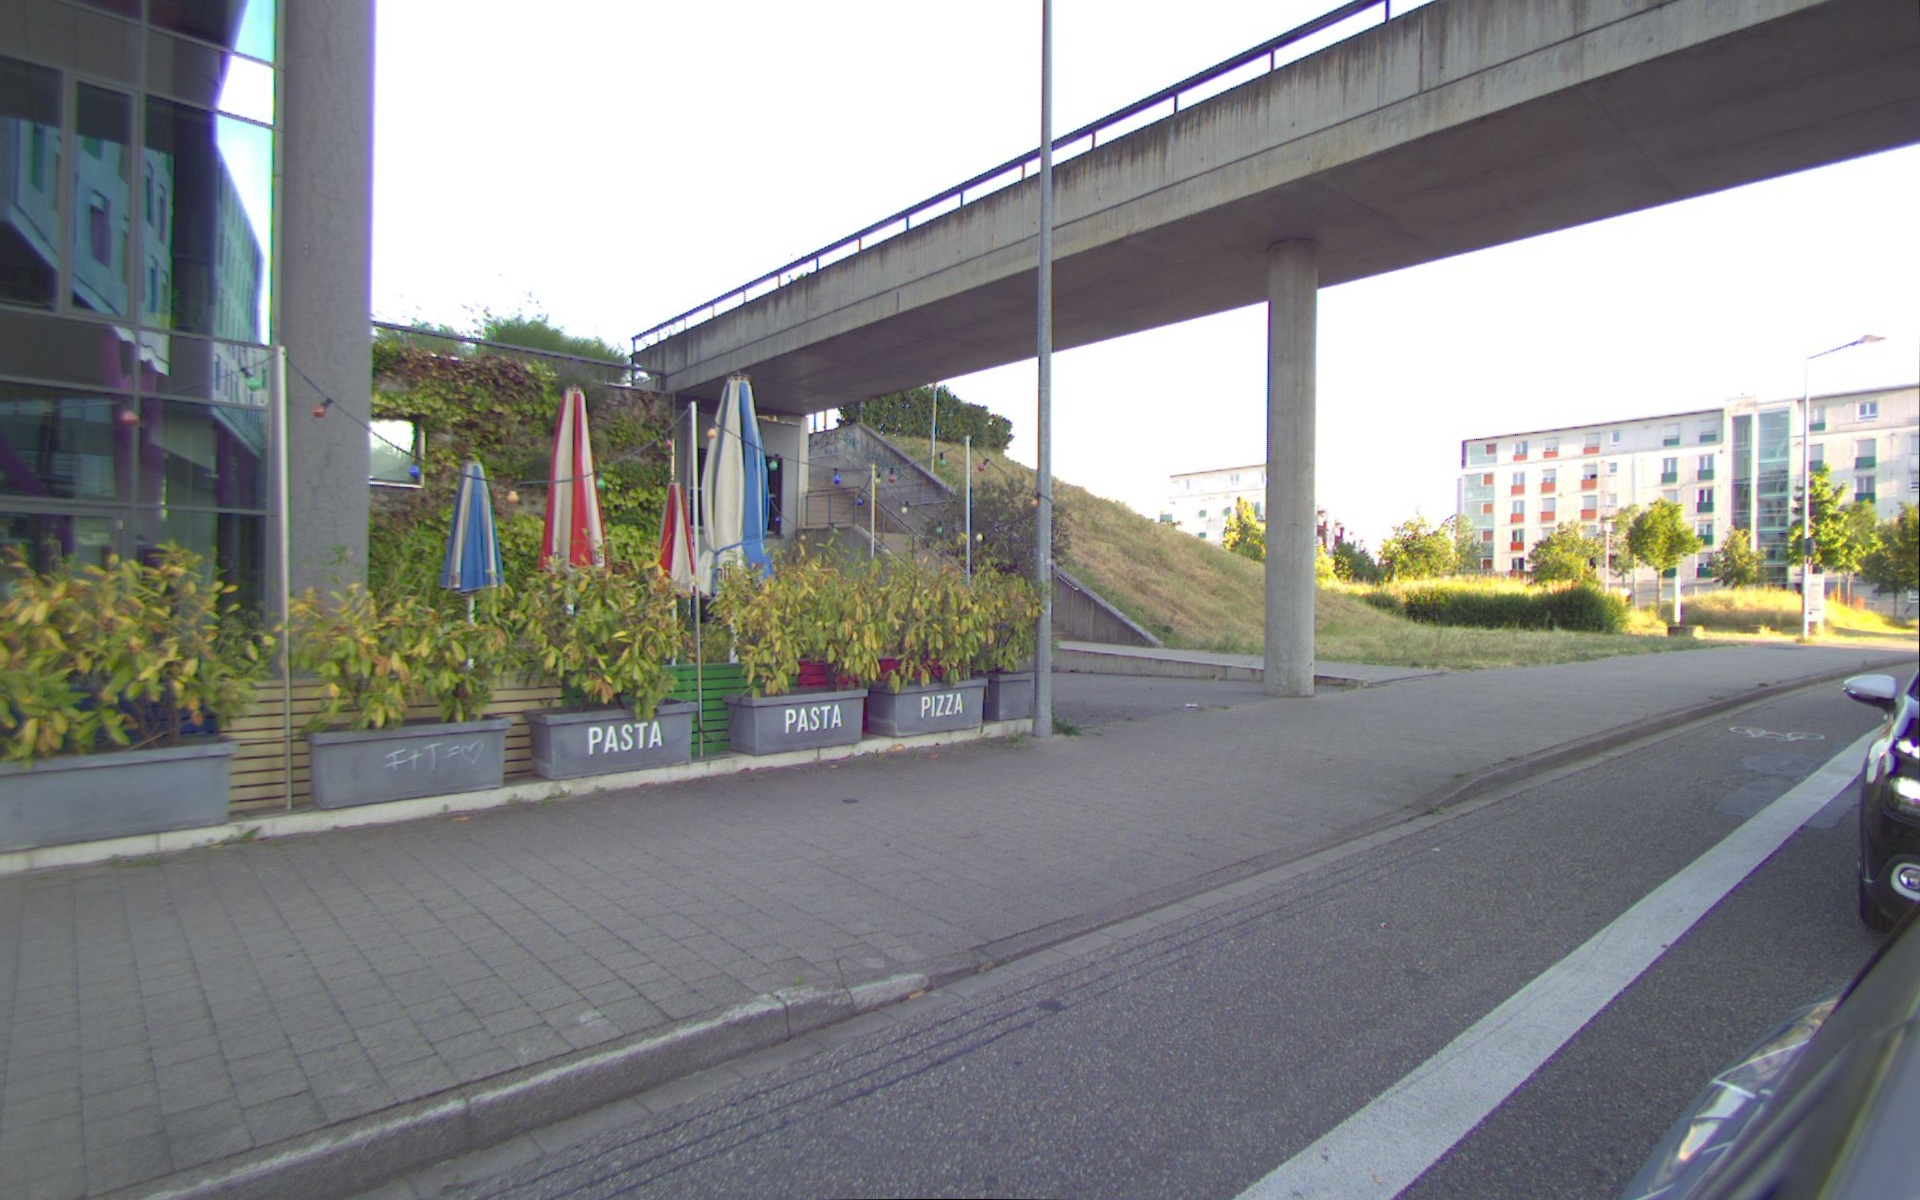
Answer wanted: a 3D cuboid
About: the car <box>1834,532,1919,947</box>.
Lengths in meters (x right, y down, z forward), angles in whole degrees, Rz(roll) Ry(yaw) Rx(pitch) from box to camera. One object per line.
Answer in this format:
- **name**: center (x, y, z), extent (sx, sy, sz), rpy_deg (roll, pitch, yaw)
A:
- **car**: center (5.516, 0.539, 4.739), extent (4.003, 1.572, 1.757), rpy_deg (0, 0, -43)
